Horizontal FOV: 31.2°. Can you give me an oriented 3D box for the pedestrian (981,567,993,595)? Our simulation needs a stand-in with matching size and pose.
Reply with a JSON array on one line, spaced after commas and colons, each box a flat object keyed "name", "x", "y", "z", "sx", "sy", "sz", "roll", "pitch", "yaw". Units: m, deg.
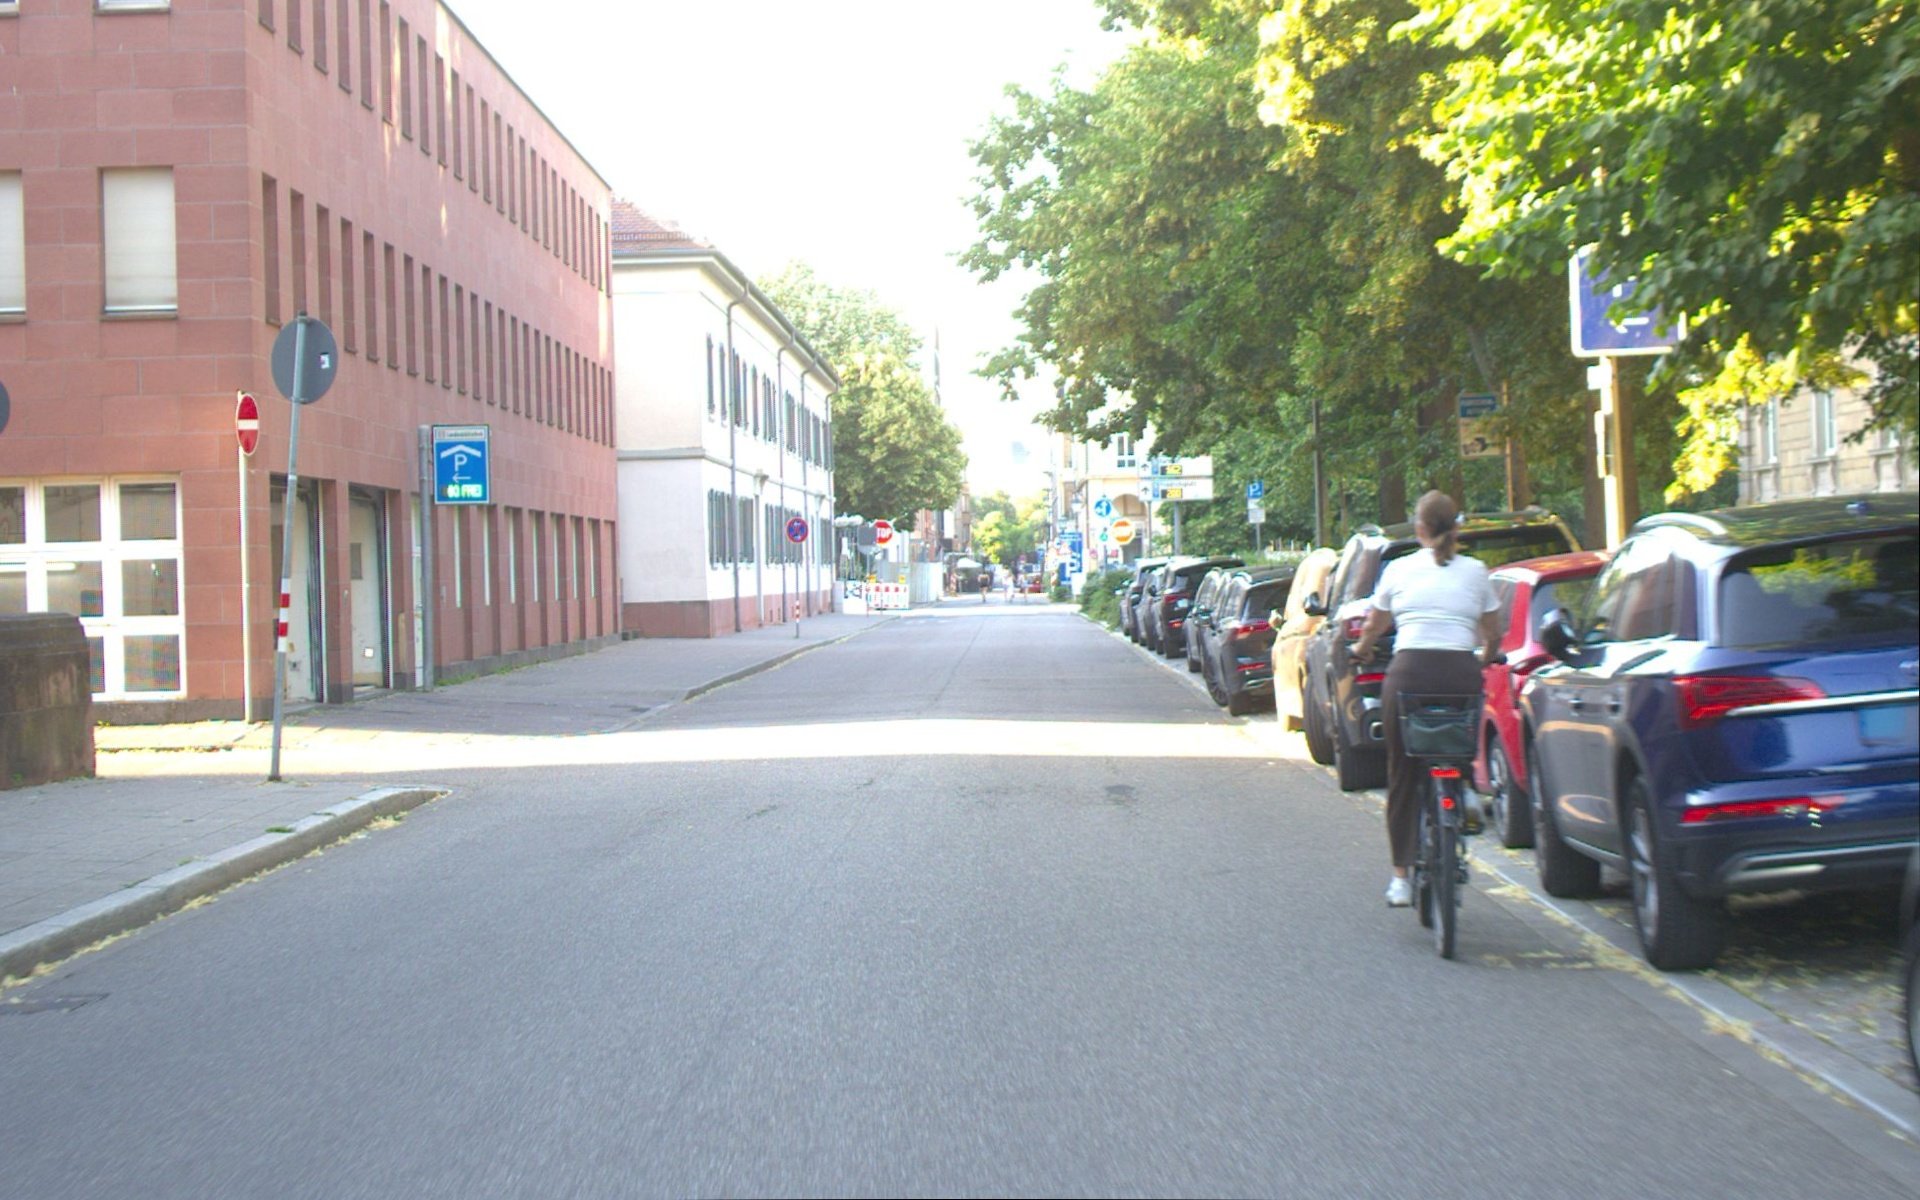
[{"name": "pedestrian", "x": 1.390, "y": -0.982, "z": 177.987, "sx": 0.534, "sy": 1.467, "sz": 0.449, "roll": -2, "pitch": 1, "yaw": -1}]

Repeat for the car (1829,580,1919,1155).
[{"name": "car", "x": 3.229, "y": 0.618, "z": 7.342, "sx": 1.685, "sy": 1.442, "sz": 3.672, "roll": -4, "pitch": 0, "yaw": -1}]

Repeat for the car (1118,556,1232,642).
[{"name": "car", "x": 4.310, "y": -0.045, "z": 69.445, "sx": 1.993, "sy": 1.623, "sz": 4.000, "roll": -2, "pitch": 1, "yaw": 0}]

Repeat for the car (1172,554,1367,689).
[{"name": "car", "x": 3.766, "y": 0.231, "z": 42.439, "sx": 1.993, "sy": 1.525, "sz": 4.000, "roll": -2, "pitch": 1, "yaw": 0}]

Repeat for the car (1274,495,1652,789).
[{"name": "car", "x": 3.400, "y": 0.246, "z": 23.982, "sx": 1.993, "sy": 1.809, "sz": 4.000, "roll": -2, "pitch": 1, "yaw": 0}]

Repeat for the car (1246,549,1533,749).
[{"name": "car", "x": 3.733, "y": 0.386, "z": 30.542, "sx": 1.993, "sy": 1.590, "sz": 4.000, "roll": -2, "pitch": 1, "yaw": 0}]

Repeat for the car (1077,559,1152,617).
[{"name": "car", "x": 5.238, "y": -0.429, "z": 117.236, "sx": 2.281, "sy": 1.848, "sz": 4.910, "roll": -2, "pitch": 1, "yaw": 0}]

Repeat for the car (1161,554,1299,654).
[{"name": "car", "x": 4.568, "y": 0.045, "z": 58.612, "sx": 1.993, "sy": 1.579, "sz": 4.000, "roll": -2, "pitch": 1, "yaw": 0}]

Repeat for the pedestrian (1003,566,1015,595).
[{"name": "pedestrian", "x": 2.500, "y": -1.008, "z": 176.090, "sx": 0.534, "sy": 1.467, "sz": 0.449, "roll": -2, "pitch": 1, "yaw": -1}]

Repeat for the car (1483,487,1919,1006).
[{"name": "car", "x": 3.251, "y": 0.447, "z": 13.718, "sx": 1.716, "sy": 1.706, "sz": 4.473, "roll": -2, "pitch": 1, "yaw": 2}]

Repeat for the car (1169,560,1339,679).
[{"name": "car", "x": 4.073, "y": 0.240, "z": 48.164, "sx": 1.993, "sy": 1.525, "sz": 4.000, "roll": -2, "pitch": 1, "yaw": 0}]

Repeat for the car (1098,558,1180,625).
[{"name": "car", "x": 4.924, "y": -0.252, "z": 95.023, "sx": 1.993, "sy": 1.743, "sz": 4.000, "roll": -2, "pitch": 1, "yaw": 0}]

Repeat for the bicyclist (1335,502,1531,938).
[{"name": "bicyclist", "x": 1.851, "y": 0.453, "z": 13.540, "sx": 0.639, "sy": 1.662, "sz": 0.843, "roll": 0, "pitch": 1, "yaw": -1}]

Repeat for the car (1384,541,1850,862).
[{"name": "car", "x": 3.509, "y": 0.478, "z": 19.079, "sx": 1.715, "sy": 1.532, "sz": 4.049, "roll": -2, "pitch": 1, "yaw": -1}]

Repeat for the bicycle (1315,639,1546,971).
[{"name": "bicycle", "x": 1.845, "y": 0.775, "z": 13.724, "sx": 0.638, "sy": 1.189, "sz": 1.876, "roll": 0, "pitch": 1, "yaw": -1}]

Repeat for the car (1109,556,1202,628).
[{"name": "car", "x": 4.722, "y": -0.208, "z": 83.535, "sx": 1.993, "sy": 1.623, "sz": 4.000, "roll": -2, "pitch": 1, "yaw": 0}]

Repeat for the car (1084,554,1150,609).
[{"name": "car", "x": 6.625, "y": -0.787, "z": 145.435, "sx": 2.493, "sy": 2.188, "sz": 4.910, "roll": -2, "pitch": 1, "yaw": 0}]

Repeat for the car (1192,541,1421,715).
[{"name": "car", "x": 3.655, "y": 0.264, "z": 36.935, "sx": 1.993, "sy": 1.700, "sz": 4.000, "roll": -2, "pitch": 1, "yaw": 0}]
